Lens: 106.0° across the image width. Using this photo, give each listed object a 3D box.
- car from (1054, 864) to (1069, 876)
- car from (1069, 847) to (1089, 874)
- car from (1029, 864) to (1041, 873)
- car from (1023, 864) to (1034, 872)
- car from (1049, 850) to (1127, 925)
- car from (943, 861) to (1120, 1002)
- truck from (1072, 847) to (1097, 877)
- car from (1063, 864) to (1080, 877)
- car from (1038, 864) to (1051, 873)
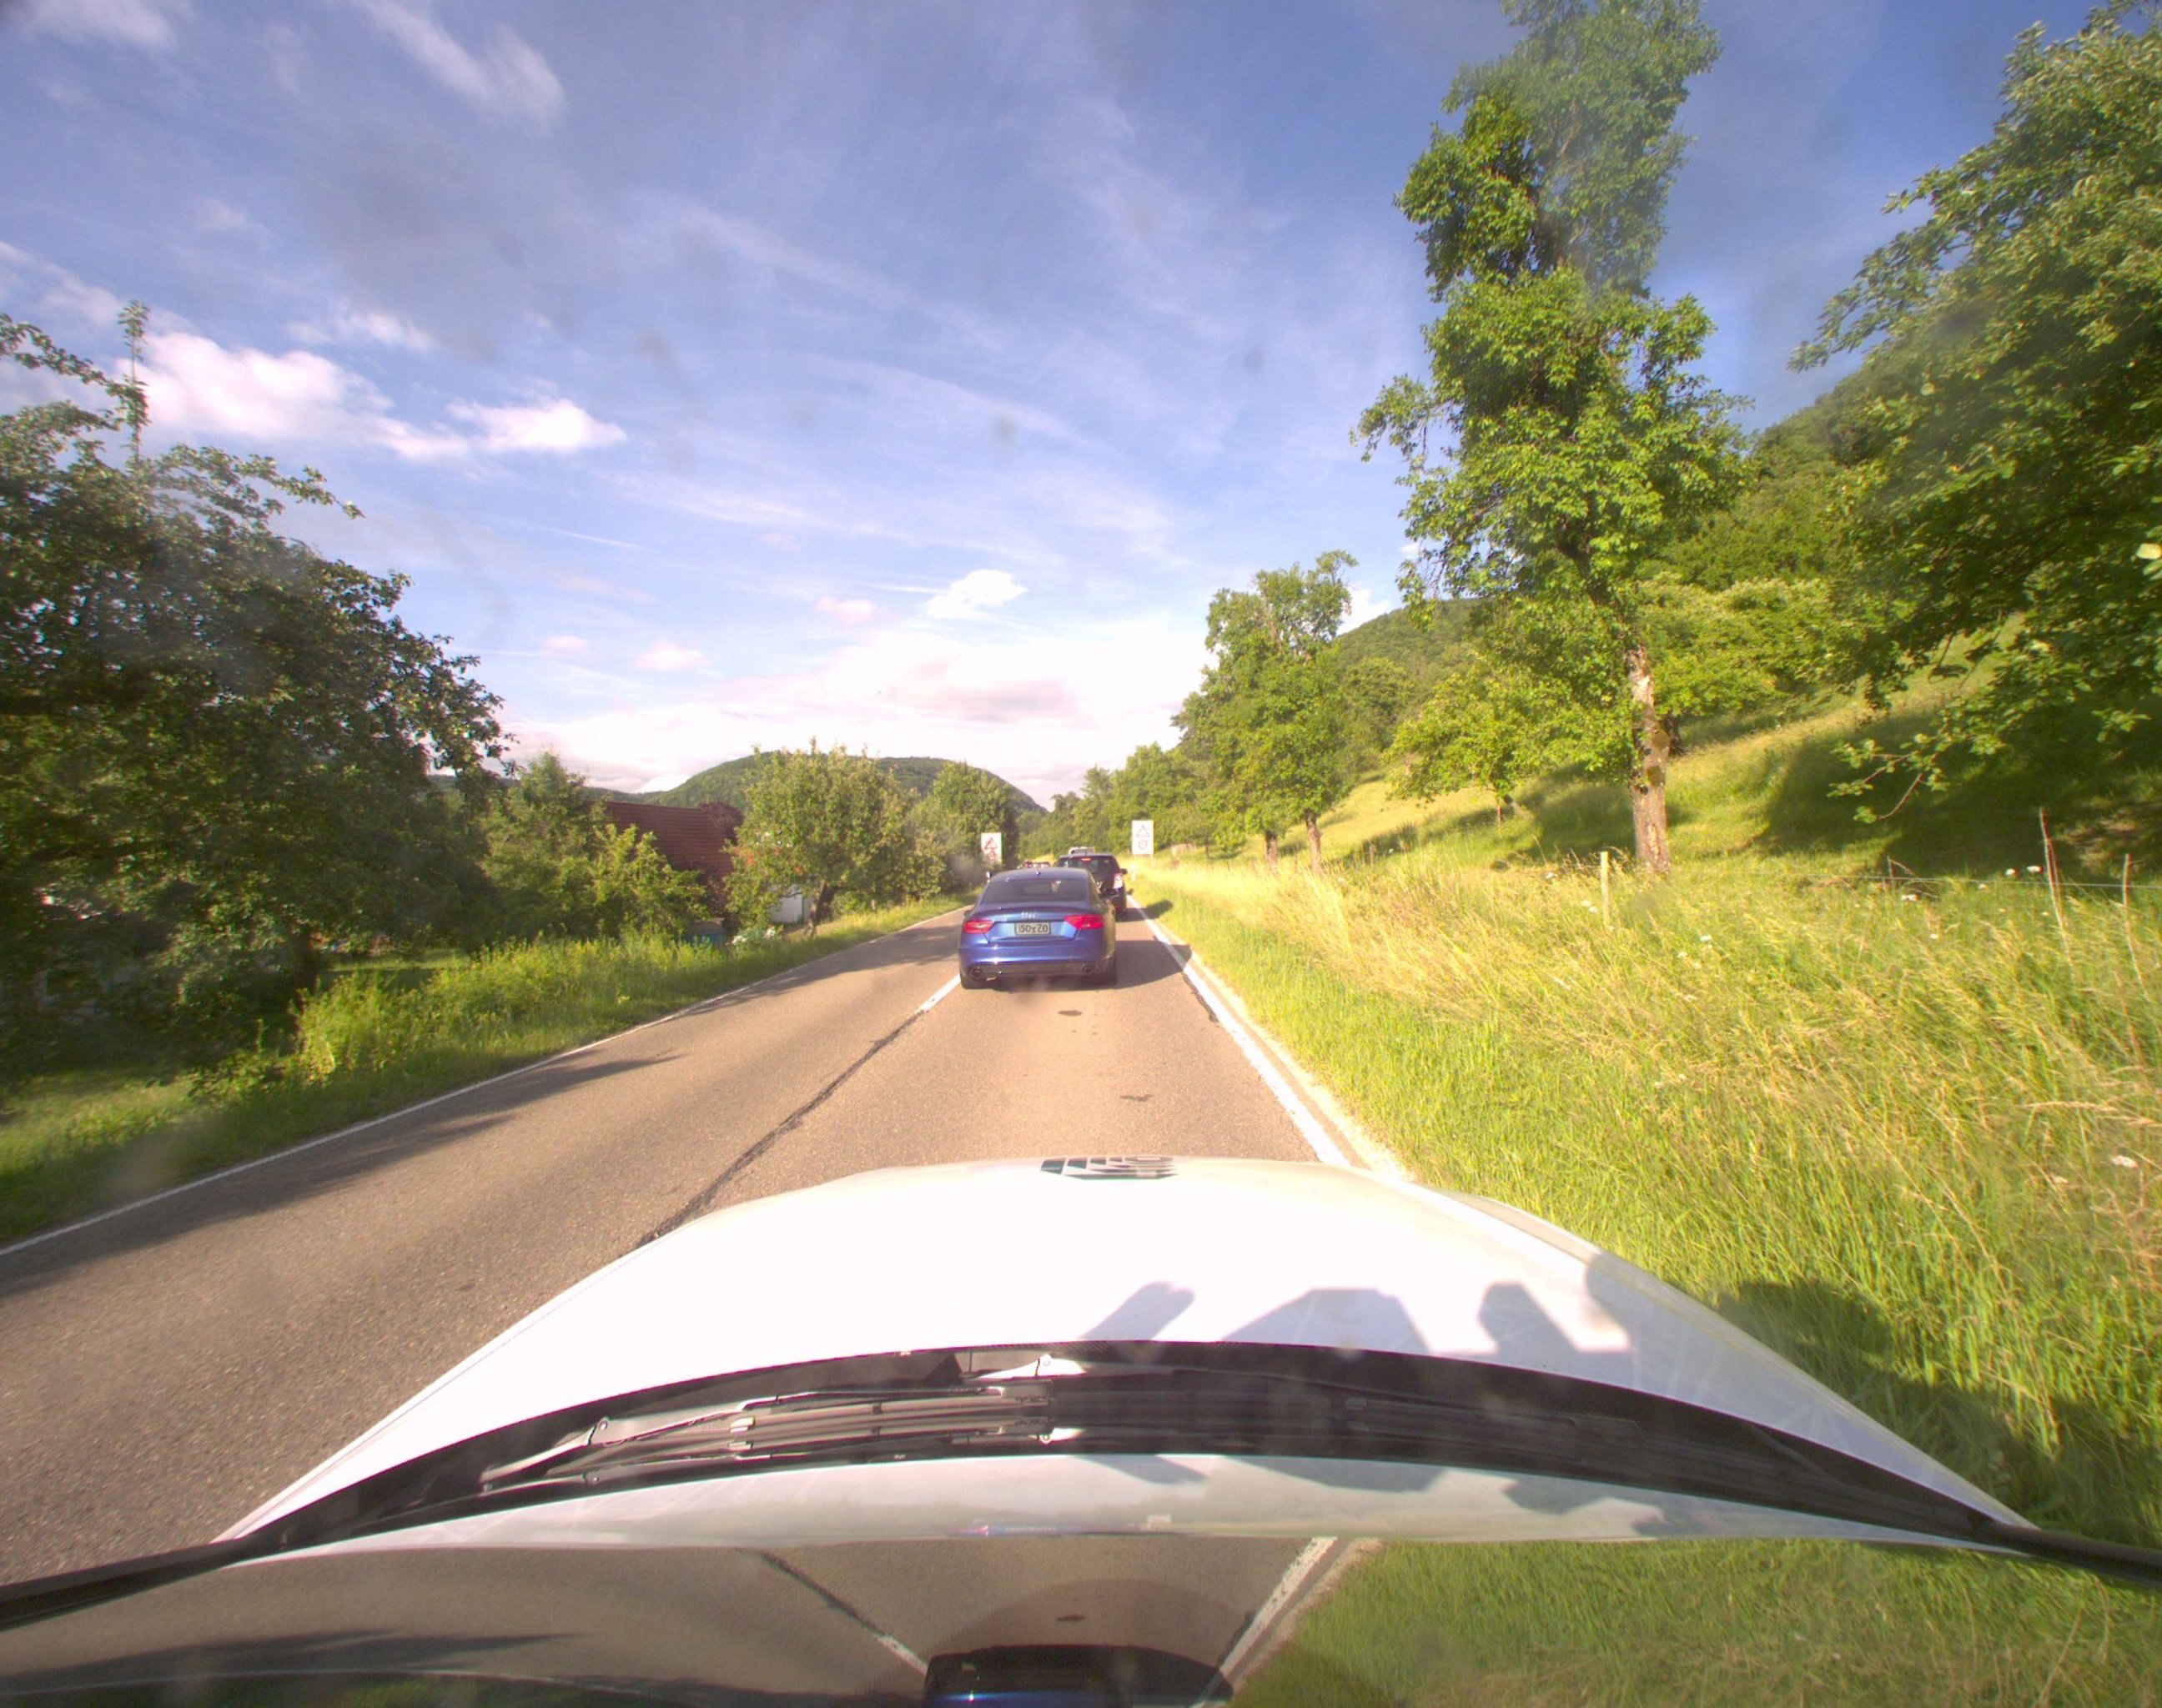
[{"bbox_3d":[-2.684,2.230,112.029,1.746,1.496,3.768,1,0,-7],"label":"car"},{"bbox_3d":[-0.218,0.567,76.824,1.787,2.453,3.916,1,0,-2],"label":"car"},{"bbox_3d":[-8.089,2.503,143.425,1.559,1.496,3.765,1,0,-10],"label":"car"},{"bbox_3d":[-9.903,2.598,152.890,1.559,1.496,3.763,1,0,-11],"label":"car"},{"bbox_3d":[0.192,0.722,19.574,1.687,1.624,3.790,0,0,1],"label":"car"},{"bbox_3d":[-0.459,0.828,10.610,1.799,1.382,4.216,-2,0,1],"label":"car"},{"bbox_3d":[0.304,0.648,67.411,1.943,2.345,5.093,1,0,0],"label":"truck"},{"bbox_3d":[-1.170,1.947,96.901,1.745,1.496,3.772,1,0,-5],"label":"car"},{"bbox_3d":[-6.028,2.365,133.526,1.748,1.496,3.766,1,0,-10],"label":"car"}]
